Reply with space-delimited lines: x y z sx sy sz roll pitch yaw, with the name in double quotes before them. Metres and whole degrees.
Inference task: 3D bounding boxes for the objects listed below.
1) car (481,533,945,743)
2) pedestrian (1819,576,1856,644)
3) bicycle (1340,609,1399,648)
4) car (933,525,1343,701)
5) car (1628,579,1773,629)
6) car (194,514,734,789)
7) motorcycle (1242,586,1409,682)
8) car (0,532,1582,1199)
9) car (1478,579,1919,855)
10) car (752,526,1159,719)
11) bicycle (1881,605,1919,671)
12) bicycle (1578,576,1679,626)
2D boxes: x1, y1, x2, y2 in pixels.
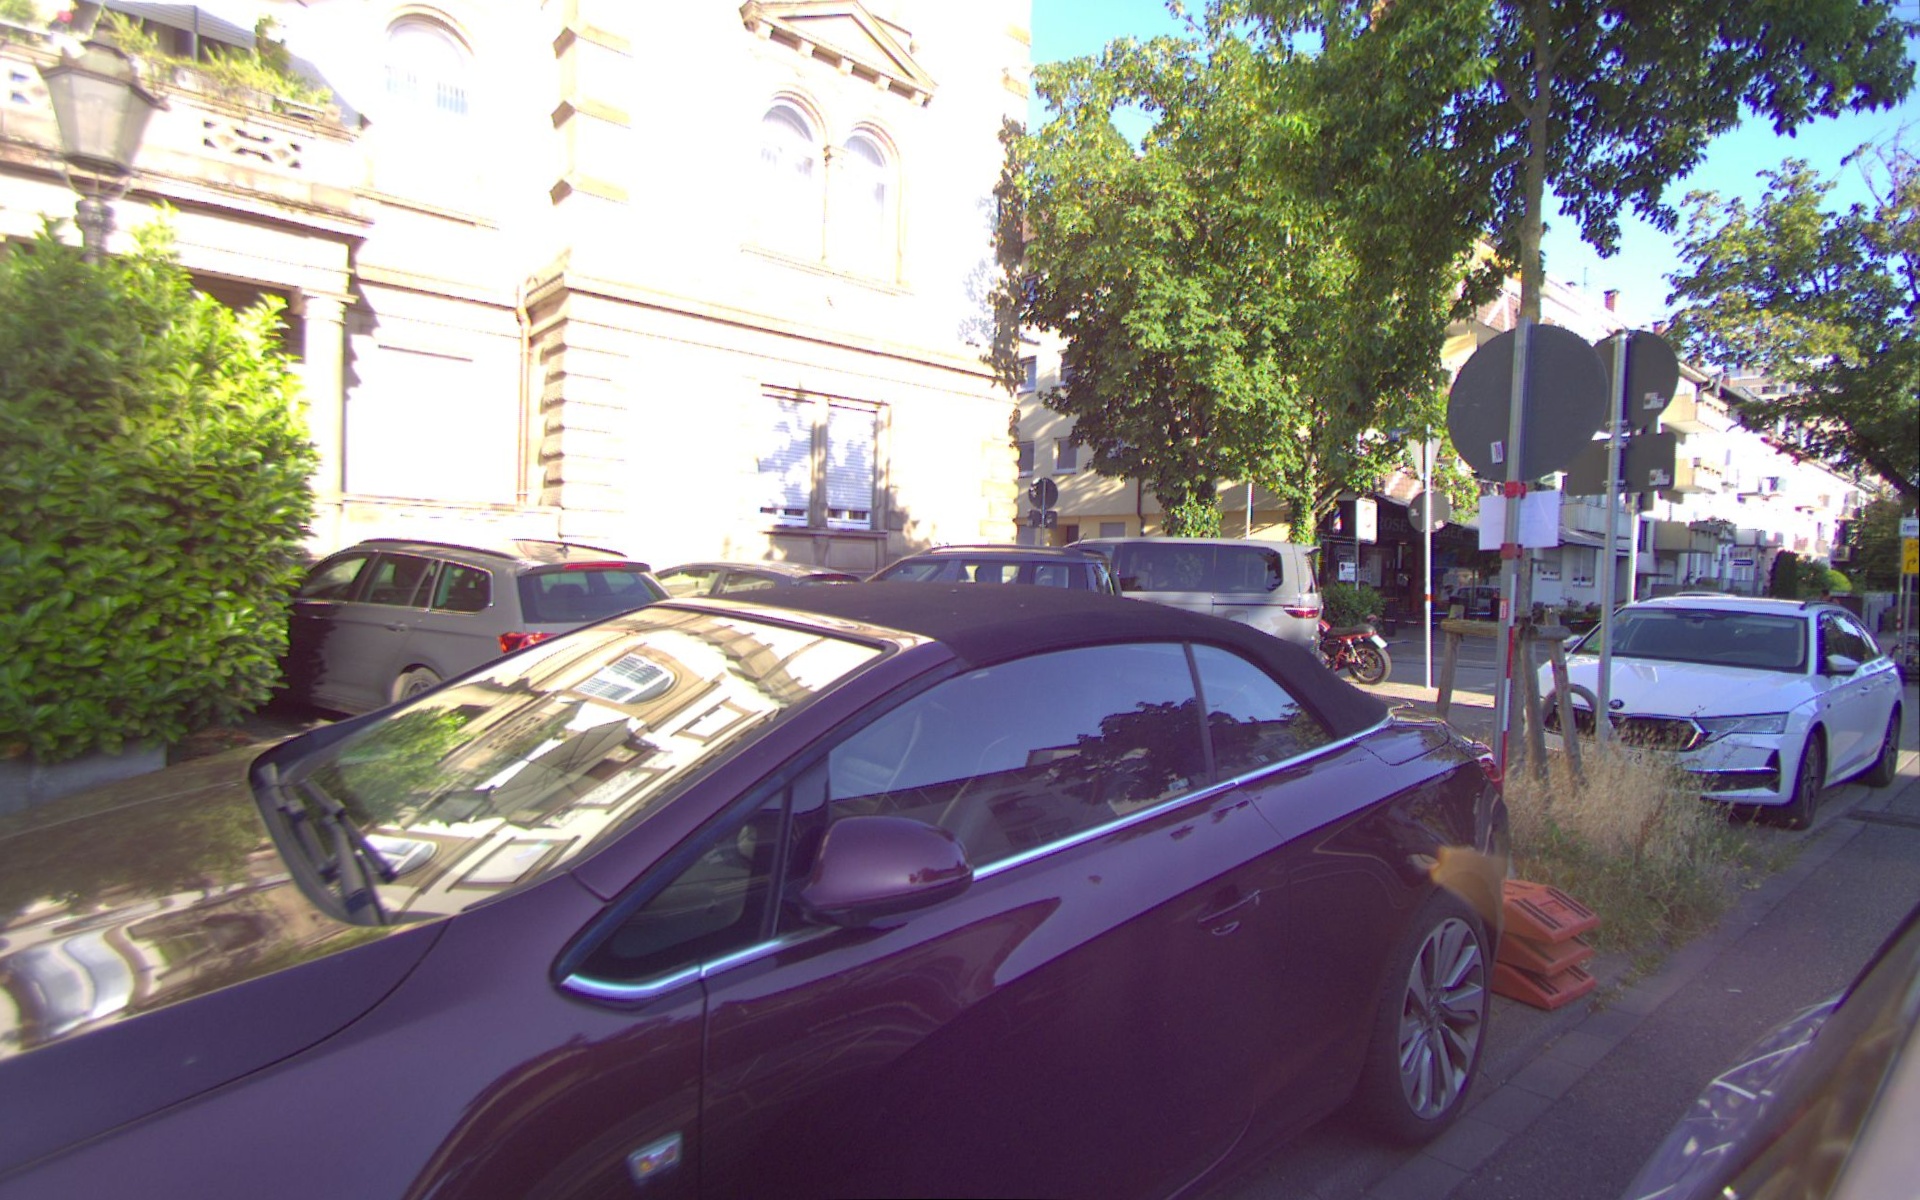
"car" -2.342 0.219 9.438 4.061 1.458 1.701 4 3 27
"pedestrian" 23.375 0.261 26.964 0.552 1.794 0.619 2 1 -40
"bicycle" 8.711 0.595 21.499 1.504 0.777 0.486 0 2 -40
"car" 2.267 0.057 12.956 4.881 1.923 1.907 2 1 22
"car" 25.705 0.101 35.229 1.550 1.523 3.869 0 2 -45
"car" -3.935 0.200 7.824 4.220 1.529 1.772 4 3 32
"motorcycle" 5.327 0.458 14.857 2.153 1.255 0.778 3 2 40
"car" -0.219 0.639 2.597 4.534 1.437 1.761 0 4 -41
"car" 5.921 0.637 7.798 4.540 1.496 1.825 0 2 -40
"car" -0.029 0.138 11.019 4.050 1.720 1.776 3 2 21
"bicycle" 18.024 0.747 18.337 0.602 1.176 1.905 1 3 -13
"bicycle" 20.860 0.010 31.621 0.912 1.459 2.457 0 2 -42
